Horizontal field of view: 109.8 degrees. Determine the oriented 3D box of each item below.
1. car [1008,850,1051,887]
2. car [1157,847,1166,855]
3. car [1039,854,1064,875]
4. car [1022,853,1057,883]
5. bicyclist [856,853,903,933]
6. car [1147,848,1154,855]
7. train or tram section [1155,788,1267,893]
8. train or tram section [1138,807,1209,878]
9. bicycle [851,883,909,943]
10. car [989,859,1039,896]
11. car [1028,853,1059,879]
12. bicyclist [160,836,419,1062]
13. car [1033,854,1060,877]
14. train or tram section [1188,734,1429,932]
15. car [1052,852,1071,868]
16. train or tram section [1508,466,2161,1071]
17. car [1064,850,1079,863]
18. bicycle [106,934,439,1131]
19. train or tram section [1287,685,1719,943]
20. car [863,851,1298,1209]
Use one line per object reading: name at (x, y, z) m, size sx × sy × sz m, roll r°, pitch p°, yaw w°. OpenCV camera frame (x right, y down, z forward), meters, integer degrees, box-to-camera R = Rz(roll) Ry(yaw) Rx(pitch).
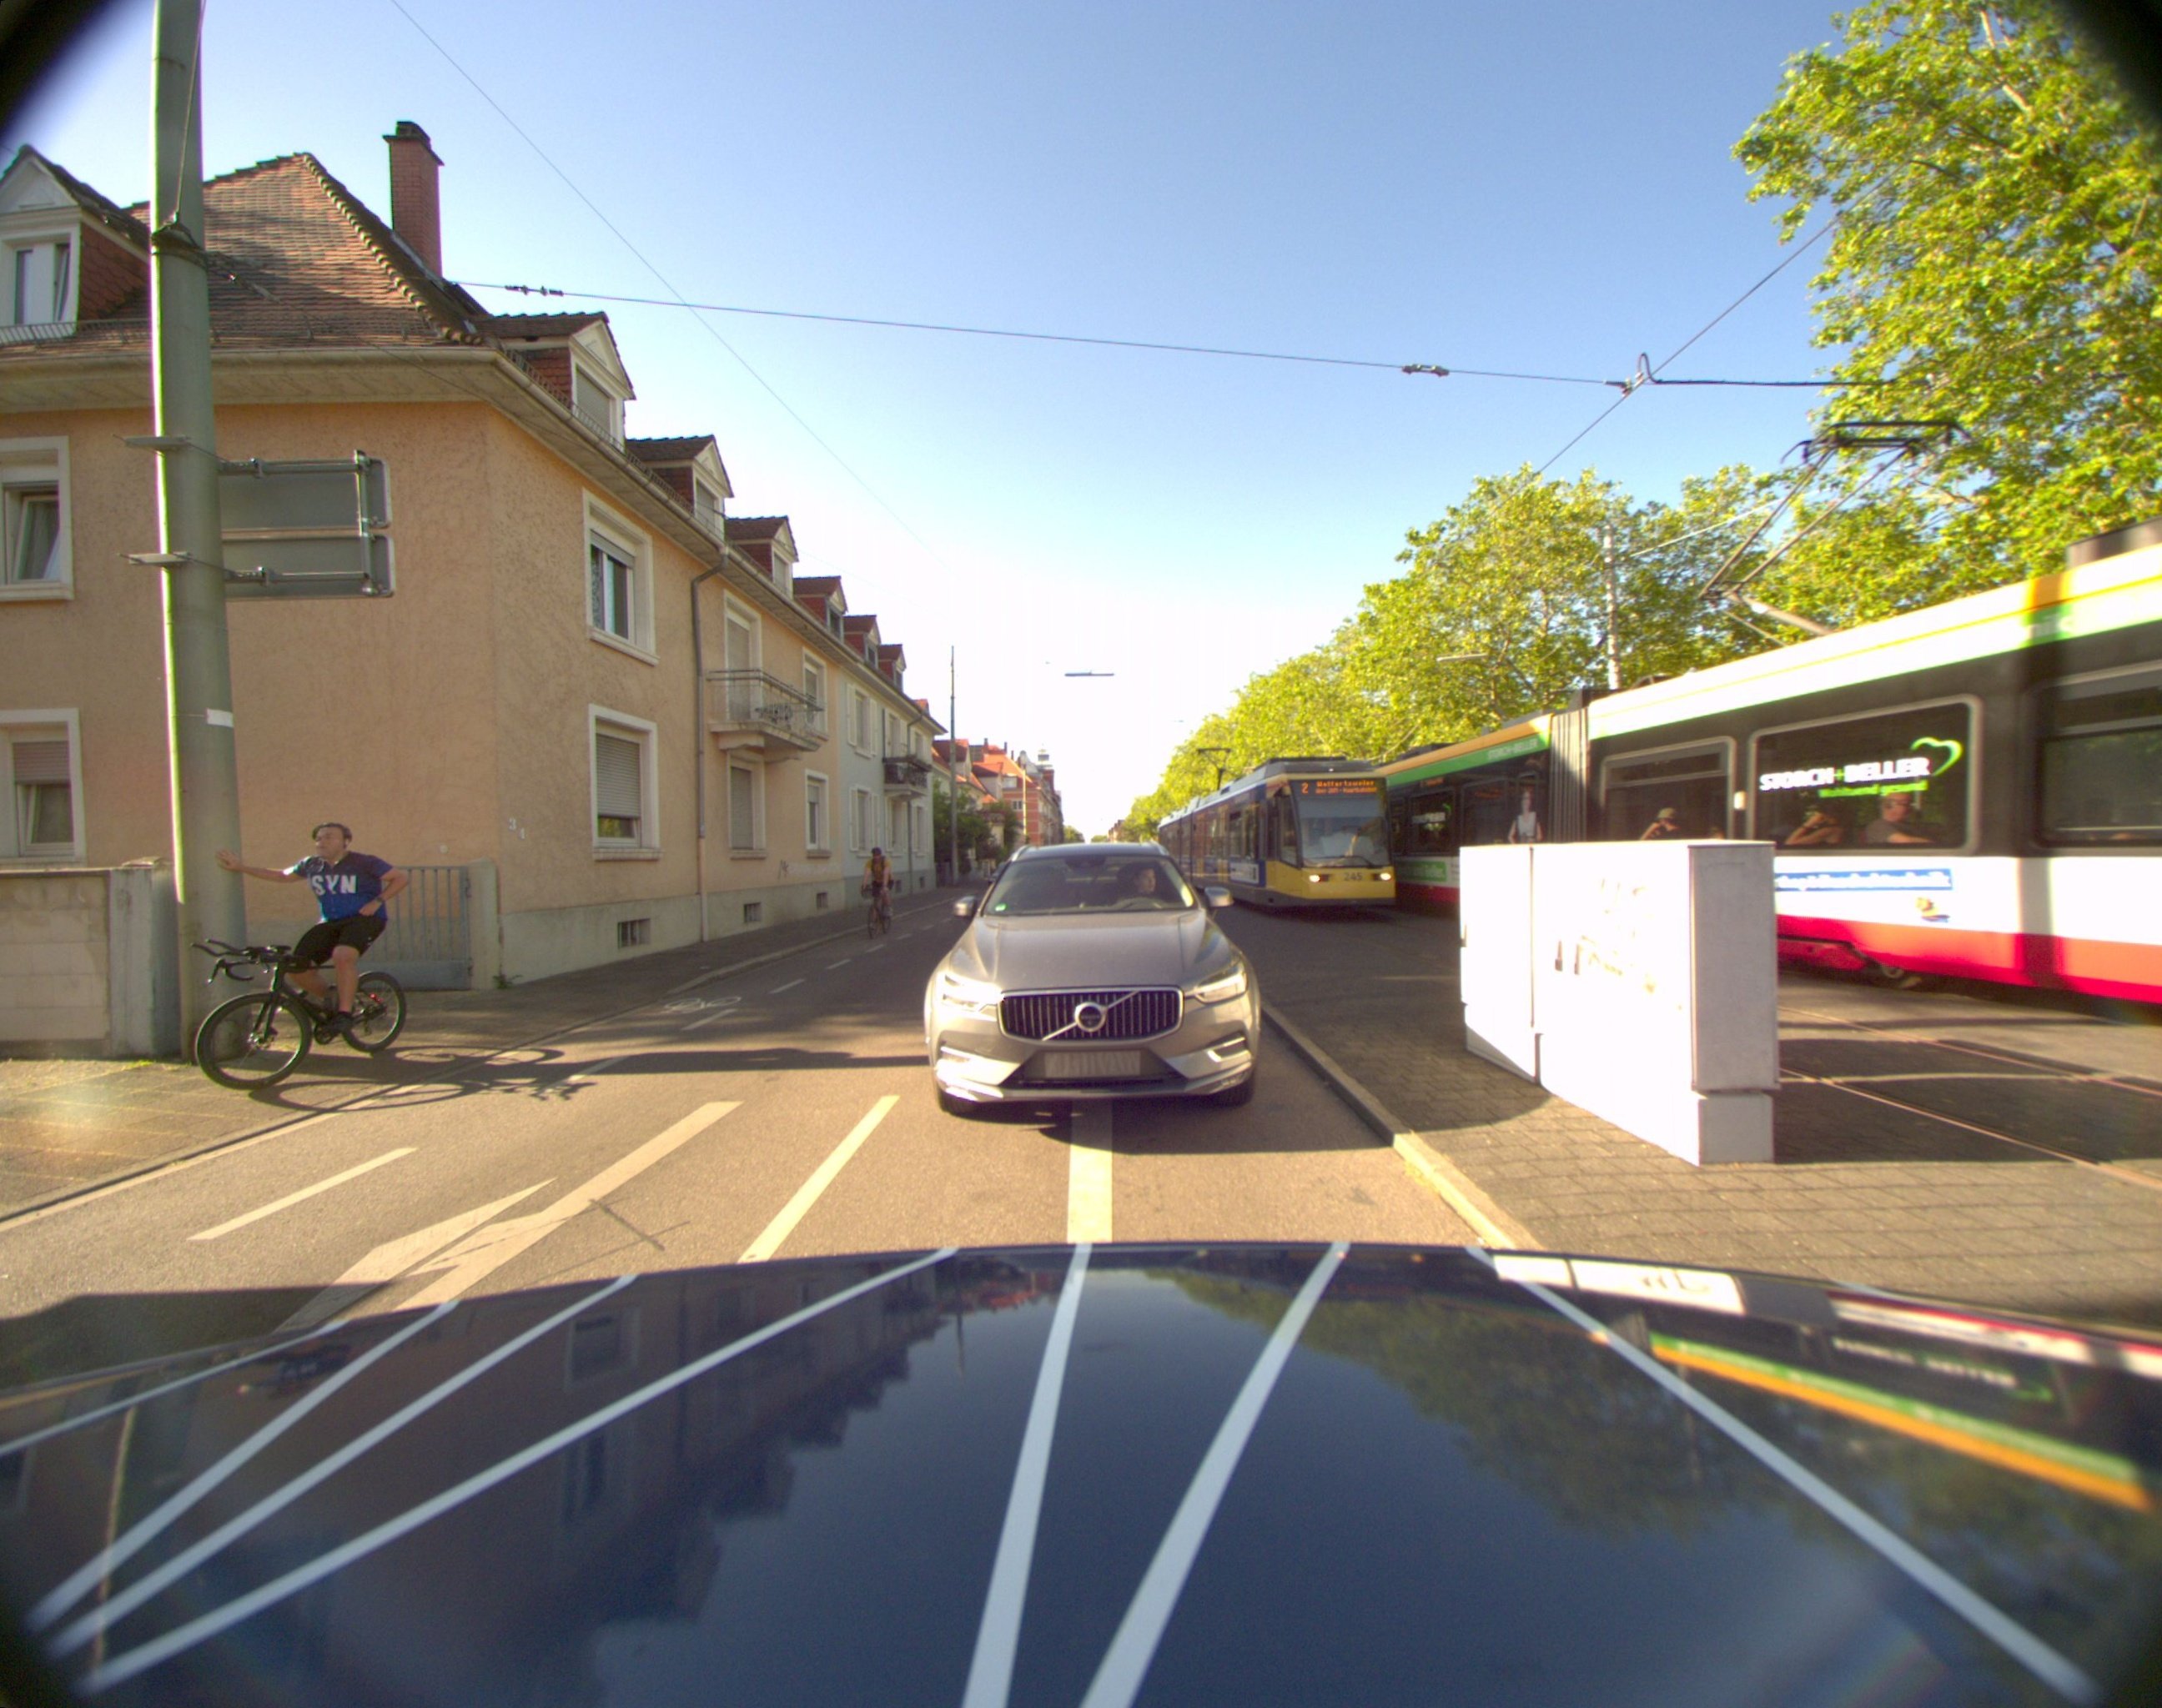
car at (-2.830, 0.745, 42.823) m, size 1.793 × 1.828 × 5.149 m, roll -3°, pitch 0°, yaw 2°
car at (20.223, -0.724, 191.419) m, size 1.695 × 1.775 × 3.749 m, roll -3°, pitch 0°, yaw 1°
car at (-2.560, 0.863, 67.078) m, size 1.793 × 1.673 × 3.814 m, roll -3°, pitch 0°, yaw 2°
car at (-2.592, 0.857, 48.488) m, size 1.793 × 1.673 × 3.814 m, roll -3°, pitch 0°, yaw 2°
bicyclist at (-4.237, 0.806, 16.034) m, size 0.685 × 1.611 × 0.855 m, roll -2°, pitch 1°, yaw 1°
car at (19.637, -0.619, 214.813) m, size 1.695 × 1.775 × 3.749 m, roll -3°, pitch 0°, yaw 1°
train or tram section at (5.211, -0.517, 33.101) m, size 2.717 × 3.643 × 12.653 m, roll -1°, pitch 0°, yaw 0°
train or tram section at (5.289, -0.608, 45.748) m, size 2.717 × 3.643 × 12.653 m, roll -1°, pitch 0°, yaw 0°
bicycle at (-4.223, 1.217, 16.086) m, size 0.685 × 1.098 × 1.806 m, roll -2°, pitch 1°, yaw 1°
car at (-3.229, 1.087, 37.050) m, size 1.695 × 1.571 × 3.815 m, roll -3°, pitch 0°, yaw 5°
car at (-2.639, 0.839, 54.008) m, size 1.793 × 1.673 × 3.814 m, roll -3°, pitch 0°, yaw 2°
bicyclist at (-6.212, 0.699, 6.033) m, size 1.051 × 1.599 × 0.885 m, roll 4°, pitch 0°, yaw 1°
car at (-2.727, 0.889, 61.033) m, size 1.793 × 1.673 × 3.814 m, roll -3°, pitch 0°, yaw 2°
train or tram section at (5.137, -0.420, 20.480) m, size 2.717 × 3.643 × 12.653 m, roll -1°, pitch 0°, yaw 0°
car at (-2.160, 0.639, 85.372) m, size 1.793 × 1.673 × 3.814 m, roll -3°, pitch 0°, yaw 2°
train or tram section at (8.241, -0.556, 4.966) m, size 2.940 × 3.791 × 12.815 m, roll -1°, pitch 0°, yaw -4°
car at (-1.304, 0.369, 107.106) m, size 1.793 × 1.673 × 3.814 m, roll -3°, pitch 0°, yaw 2°
bicycle at (-6.016, 1.258, 5.834) m, size 0.592 × 1.062 × 1.775 m, roll 4°, pitch 0°, yaw 1°
train or tram section at (8.076, -0.620, 17.854) m, size 2.939 × 3.791 × 13.052 m, roll -1°, pitch 0°, yaw 0°
car at (0.027, 0.830, 5.757) m, size 1.998 × 1.628 × 4.306 m, roll -2°, pitch 0°, yaw 1°
